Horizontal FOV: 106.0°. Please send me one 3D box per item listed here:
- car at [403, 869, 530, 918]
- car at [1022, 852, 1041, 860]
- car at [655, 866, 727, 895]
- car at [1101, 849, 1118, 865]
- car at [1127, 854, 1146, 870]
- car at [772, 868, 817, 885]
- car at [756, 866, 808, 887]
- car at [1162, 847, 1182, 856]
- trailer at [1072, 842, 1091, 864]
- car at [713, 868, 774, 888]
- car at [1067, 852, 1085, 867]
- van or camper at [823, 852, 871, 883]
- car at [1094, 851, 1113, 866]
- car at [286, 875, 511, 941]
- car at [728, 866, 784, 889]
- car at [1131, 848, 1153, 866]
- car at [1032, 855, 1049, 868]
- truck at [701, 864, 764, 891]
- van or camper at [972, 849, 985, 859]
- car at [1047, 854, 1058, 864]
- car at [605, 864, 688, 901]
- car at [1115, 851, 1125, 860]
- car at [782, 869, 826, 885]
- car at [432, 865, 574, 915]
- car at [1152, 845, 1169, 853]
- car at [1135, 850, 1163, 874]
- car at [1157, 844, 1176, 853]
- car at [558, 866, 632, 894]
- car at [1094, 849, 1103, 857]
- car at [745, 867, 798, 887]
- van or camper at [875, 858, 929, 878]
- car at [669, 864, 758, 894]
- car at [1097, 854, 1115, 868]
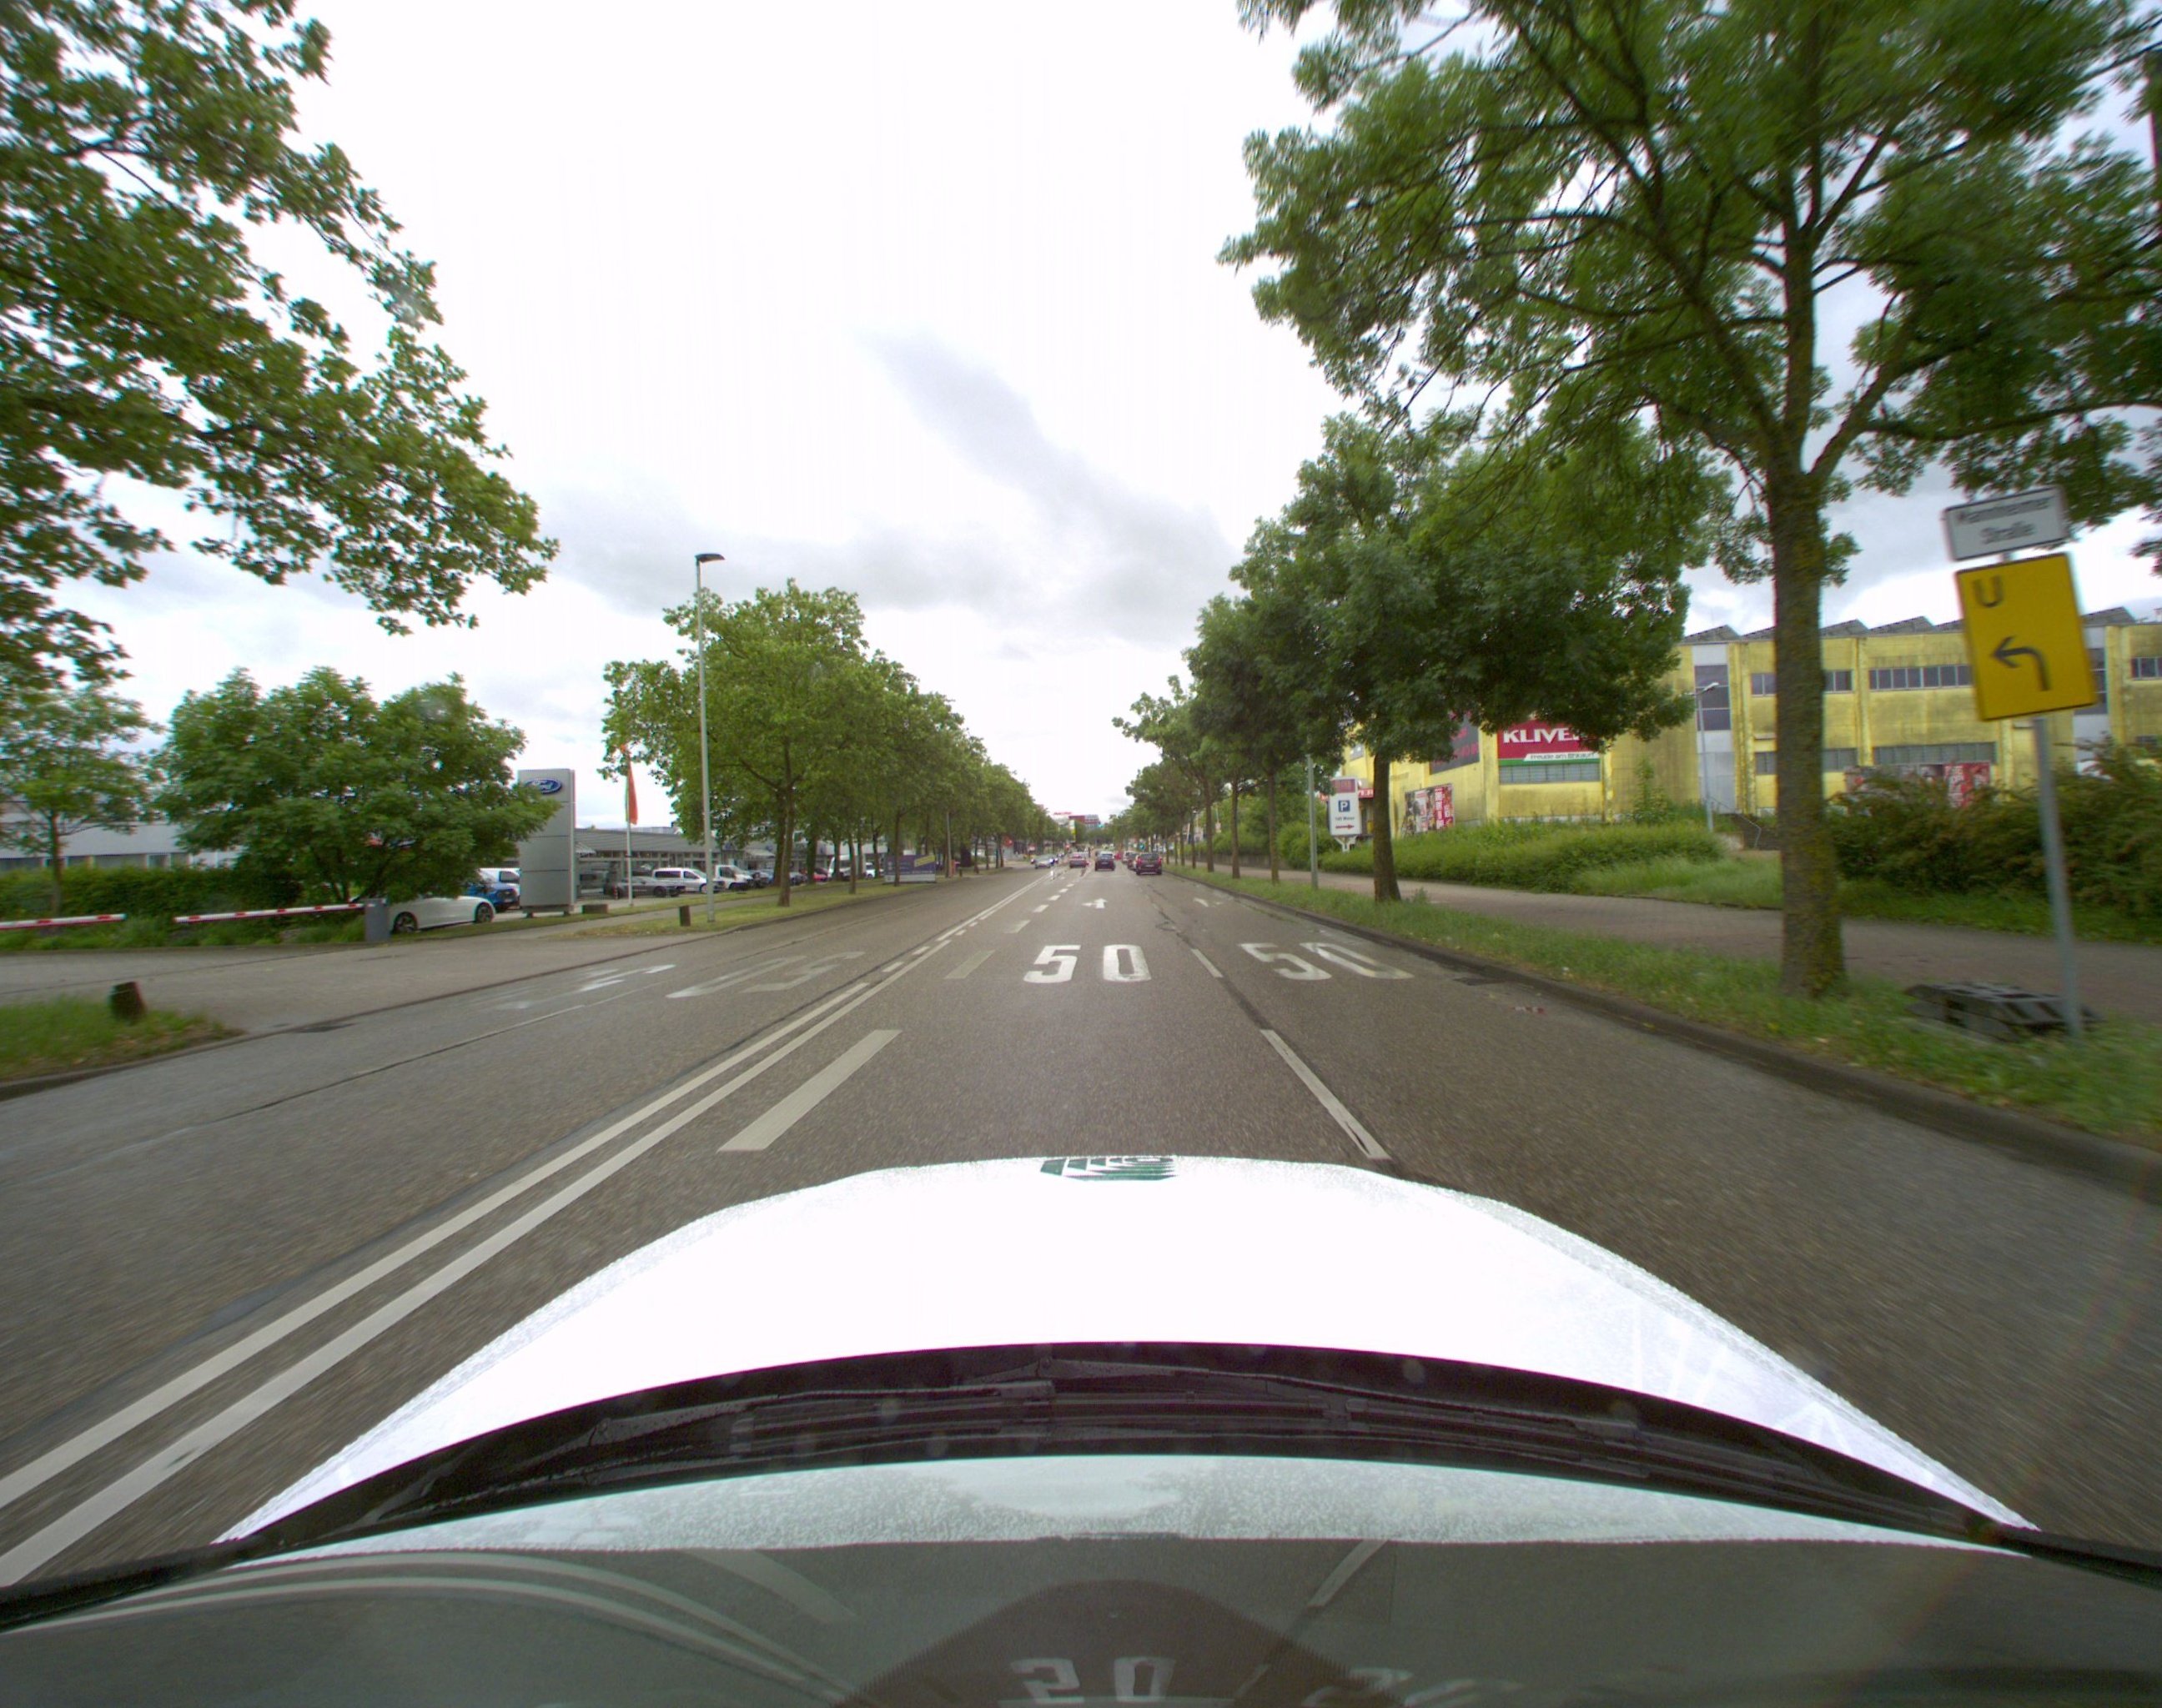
[{"bbox_3d":[-26.614,1.685,35.363,3.971,1.889,1.964,-2,0,2],"label":"car"},{"bbox_3d":[-11.648,0.417,190.964,3.948,1.552,1.912,-3,1,35],"label":"car"},{"bbox_3d":[-26.950,1.795,56.311,3.976,1.766,1.881,-2,0,-1],"label":"car"},{"bbox_3d":[3.554,0.411,102.198,1.986,2.014,4.001,-1,-1,1],"label":"car"},{"bbox_3d":[5.752,0.854,85.299,1.794,1.587,4.453,0,0,2],"label":"car"},{"bbox_3d":[-28.530,2.245,81.061,3.867,1.467,1.605,-2,0,13],"label":"car"},{"bbox_3d":[-27.104,2.035,73.825,3.955,1.766,1.873,-2,0,17],"label":"car"},{"bbox_3d":[19.076,-0.536,171.294,1.908,1.576,4.315,-2,0,42],"label":"car"},{"bbox_3d":[0.065,-0.118,111.747,2.365,2.897,5.545,-3,0,0],"label":"trailer"},{"bbox_3d":[-27.402,1.941,66.154,3.969,1.461,2.036,-2,0,4],"label":"car"},{"bbox_3d":[-0.603,0.651,96.673,1.900,1.578,4.882,-3,0,1],"label":"car"},{"bbox_3d":[-19.763,1.094,69.027,1.986,2.470,6.404,-1,0,2],"label":"van or camper"},{"bbox_3d":[2.093,0.407,76.859,1.775,1.398,4.000,-1,0,1],"label":"car"},{"bbox_3d":[-19.779,1.480,24.034,2.111,1.496,5.247,-3,0,1],"label":"car"},{"bbox_3d":[-27.377,1.953,68.646,3.956,1.766,1.873,-2,0,16],"label":"car"},{"bbox_3d":[5.469,0.258,73.049,1.794,1.544,4.622,0,0,2],"label":"car"},{"bbox_3d":[-5.036,0.933,101.455,1.989,1.429,4.679,-3,0,-4],"label":"car"},{"bbox_3d":[-27.052,1.820,63.298,3.985,1.838,1.994,-2,0,-9],"label":"truck"},{"bbox_3d":[-21.233,-0.006,169.466,1.986,1.967,4.789,-1,-1,1],"label":"van or camper"},{"bbox_3d":[-4.762,0.822,134.677,1.663,1.462,4.174,-3,0,-4],"label":"car"},{"bbox_3d":[-26.736,1.726,50.200,3.976,2.013,1.881,-2,0,-1],"label":"car"},{"bbox_3d":[7.060,0.291,147.823,1.689,1.443,3.991,-2,0,2],"label":"car"},{"bbox_3d":[-28.567,2.336,84.057,3.959,1.467,1.605,-2,0,13],"label":"car"},{"bbox_3d":[-27.084,1.654,38.292,5.030,2.013,2.129,-2,0,-1],"label":"car"},{"bbox_3d":[18.483,-1.157,189.545,3.617,1.536,1.625,-3,0,-39],"label":"car"},{"bbox_3d":[4.960,0.551,59.755,1.720,1.624,4.472,-2,0,1],"label":"car"},{"bbox_3d":[19.237,-1.162,183.787,4.048,1.662,1.960,-5,2,-39],"label":"car"},{"bbox_3d":[-33.978,1.809,57.006,3.975,1.766,1.864,-2,0,-1],"label":"car"},{"bbox_3d":[4.255,-0.181,198.818,1.986,2.014,4.002,-1,-1,2],"label":"car"},{"bbox_3d":[-27.052,1.989,71.251,3.957,1.520,1.873,-2,0,15],"label":"car"},{"bbox_3d":[-19.230,1.476,87.394,5.308,1.821,2.248,-3,0,-25],"label":"van or camper"},{"bbox_3d":[-26.954,1.846,59.948,5.362,1.903,2.414,-2,0,-3],"label":"car"},{"bbox_3d":[2.684,0.715,88.828,1.678,1.377,3.997,-3,0,-2],"label":"car"}]
